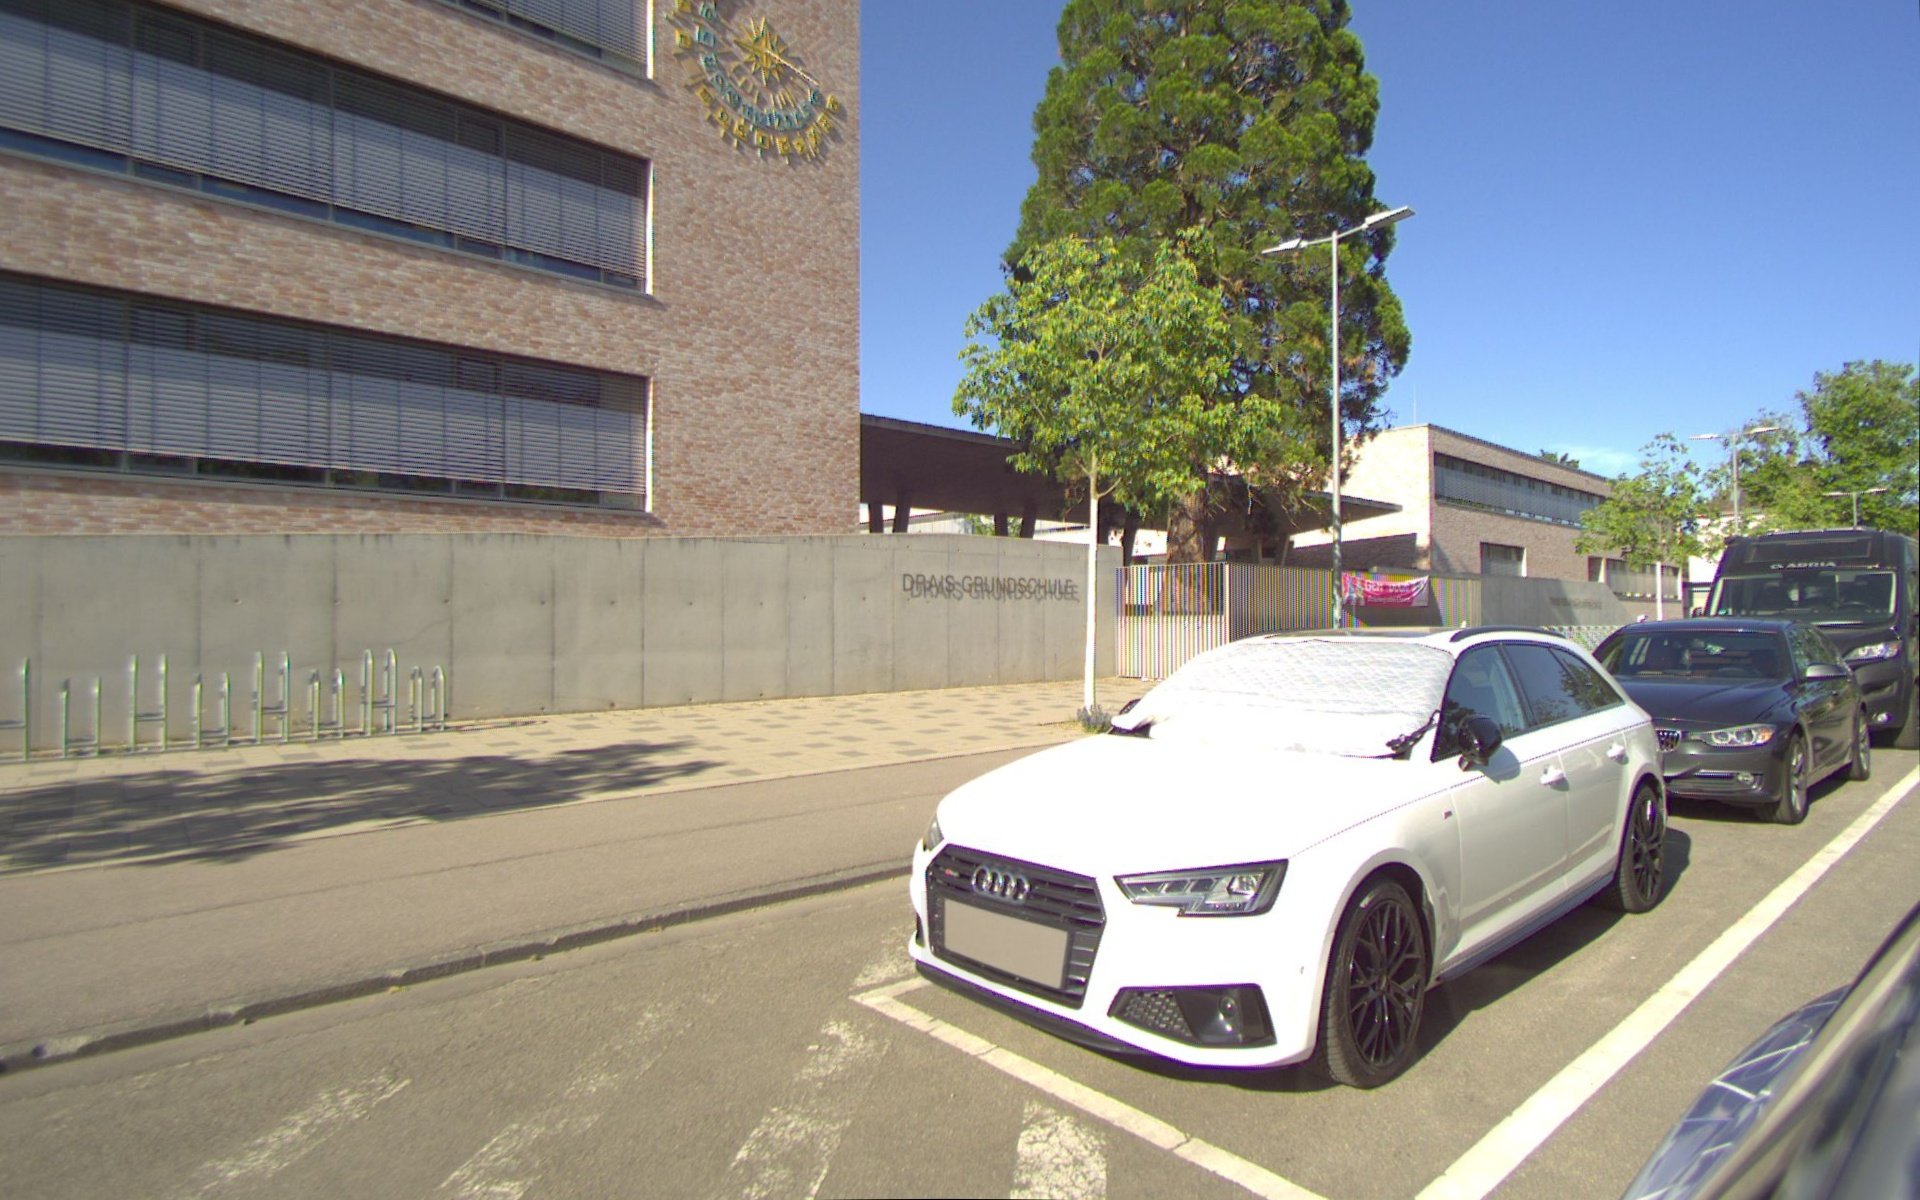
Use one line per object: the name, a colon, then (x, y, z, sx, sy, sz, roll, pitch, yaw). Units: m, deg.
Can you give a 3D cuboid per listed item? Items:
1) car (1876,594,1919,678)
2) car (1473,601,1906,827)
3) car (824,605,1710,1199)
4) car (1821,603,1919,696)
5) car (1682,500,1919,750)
car: (20.711, 0.703, 21.161, 4.426, 1.661, 1.848, 0, -1, -42)
car: (6.442, 0.742, 8.733, 4.554, 1.439, 1.997, 0, -1, -40)
car: (1.784, 0.758, 4.686, 4.577, 1.439, 1.797, 0, -1, -42)
car: (16.533, 0.801, 17.637, 3.881, 1.474, 1.797, 0, -1, -42)
car: (11.535, 0.266, 13.210, 6.420, 2.548, 2.117, 0, -1, -42)
